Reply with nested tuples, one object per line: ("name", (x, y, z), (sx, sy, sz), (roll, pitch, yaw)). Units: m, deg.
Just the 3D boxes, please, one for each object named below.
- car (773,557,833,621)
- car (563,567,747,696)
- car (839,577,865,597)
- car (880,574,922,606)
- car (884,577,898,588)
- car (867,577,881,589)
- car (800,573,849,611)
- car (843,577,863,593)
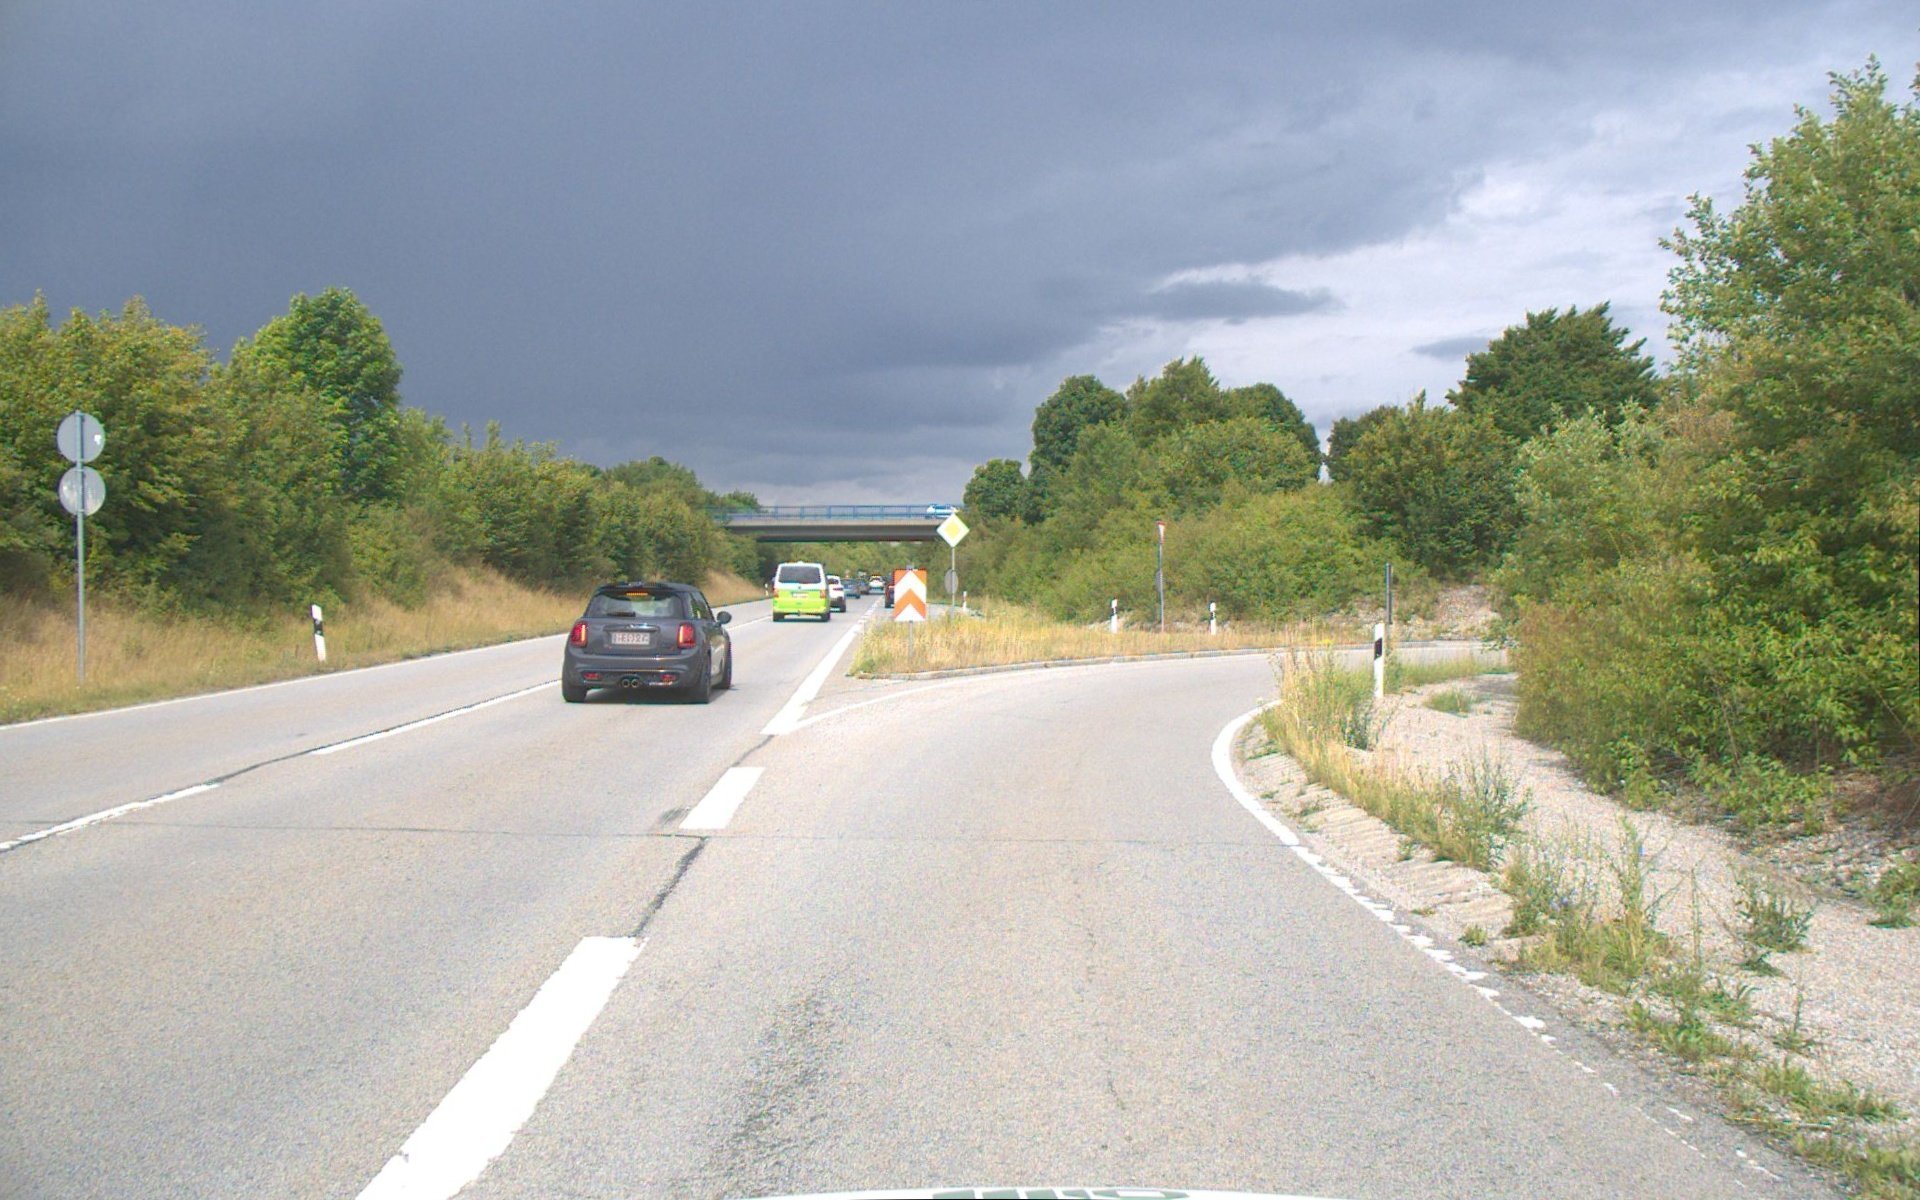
("car", (-5.351, -0.385, 56.686), (1.783, 2.090, 3.998), (1, 1, -2))
("car", (-3.769, 0.341, 21.044), (1.721, 1.452, 3.998), (1, 1, -2))
("car", (-7.702, -0.945, 118.345), (1.633, 1.427, 4.000), (1, 1, -1))
("car", (-3.058, -0.535, 85.074), (1.954, 1.579, 3.997), (1, 1, -4))
("car", (-9.433, -2.346, 225.681), (1.633, 1.427, 4.000), (1, 1, 0))
("car", (-10.510, -2.075, 202.415), (1.633, 1.427, 3.999), (1, 1, -2))
("car", (-5.873, -0.373, 72.051), (1.953, 1.579, 3.998), (1, 1, -2))
("car", (-9.555, -1.351, 147.764), (1.633, 1.427, 3.999), (1, 1, -2))
